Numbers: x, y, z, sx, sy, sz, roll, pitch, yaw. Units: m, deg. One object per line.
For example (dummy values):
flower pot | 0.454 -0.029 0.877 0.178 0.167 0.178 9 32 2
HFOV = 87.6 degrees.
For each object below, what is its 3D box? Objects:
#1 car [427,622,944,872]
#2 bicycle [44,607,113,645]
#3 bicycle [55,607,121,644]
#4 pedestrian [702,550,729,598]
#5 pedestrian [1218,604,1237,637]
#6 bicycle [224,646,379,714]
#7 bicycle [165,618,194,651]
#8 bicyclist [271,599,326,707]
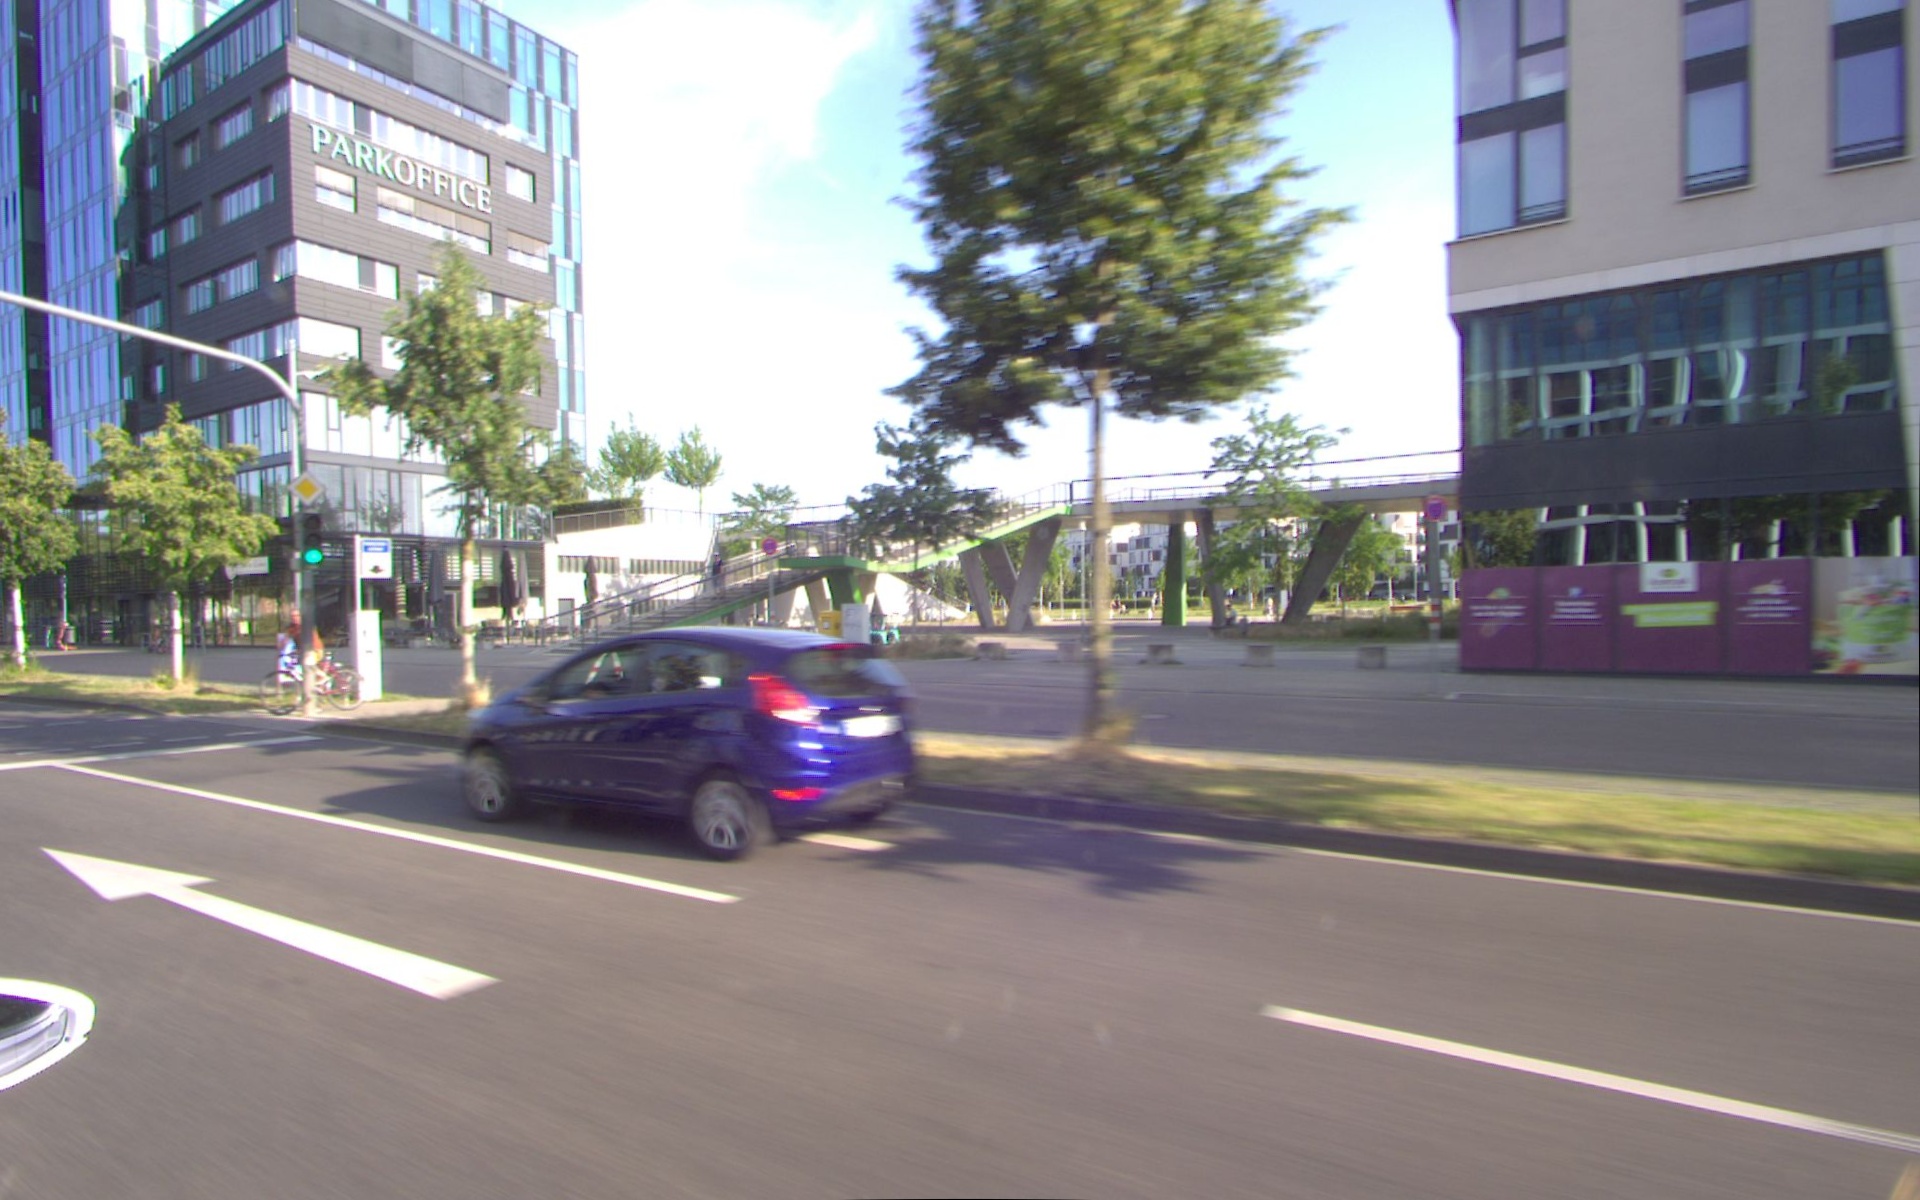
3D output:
car | -2.153 0.903 7.540 3.850 1.442 1.558 0 -1 32
bicycle | -44.670 1.309 50.781 0.563 1.881 2.552 -1 -2 41
bicycle | -43.682 1.288 50.188 0.548 1.768 2.423 -1 -2 41
pedestrian | -9.141 -0.954 37.491 0.689 1.713 0.779 1 -2 -45
pedestrian | 10.766 0.820 40.251 0.573 1.310 0.595 -1 -1 32
bicycle | -10.787 1.277 16.505 0.563 1.025 2.133 -1 -2 28
bicycle | -32.934 1.448 42.224 1.867 1.363 0.372 -2 -2 33
bicyclist | -10.839 0.860 16.410 0.532 1.728 0.574 -1 -1 29
